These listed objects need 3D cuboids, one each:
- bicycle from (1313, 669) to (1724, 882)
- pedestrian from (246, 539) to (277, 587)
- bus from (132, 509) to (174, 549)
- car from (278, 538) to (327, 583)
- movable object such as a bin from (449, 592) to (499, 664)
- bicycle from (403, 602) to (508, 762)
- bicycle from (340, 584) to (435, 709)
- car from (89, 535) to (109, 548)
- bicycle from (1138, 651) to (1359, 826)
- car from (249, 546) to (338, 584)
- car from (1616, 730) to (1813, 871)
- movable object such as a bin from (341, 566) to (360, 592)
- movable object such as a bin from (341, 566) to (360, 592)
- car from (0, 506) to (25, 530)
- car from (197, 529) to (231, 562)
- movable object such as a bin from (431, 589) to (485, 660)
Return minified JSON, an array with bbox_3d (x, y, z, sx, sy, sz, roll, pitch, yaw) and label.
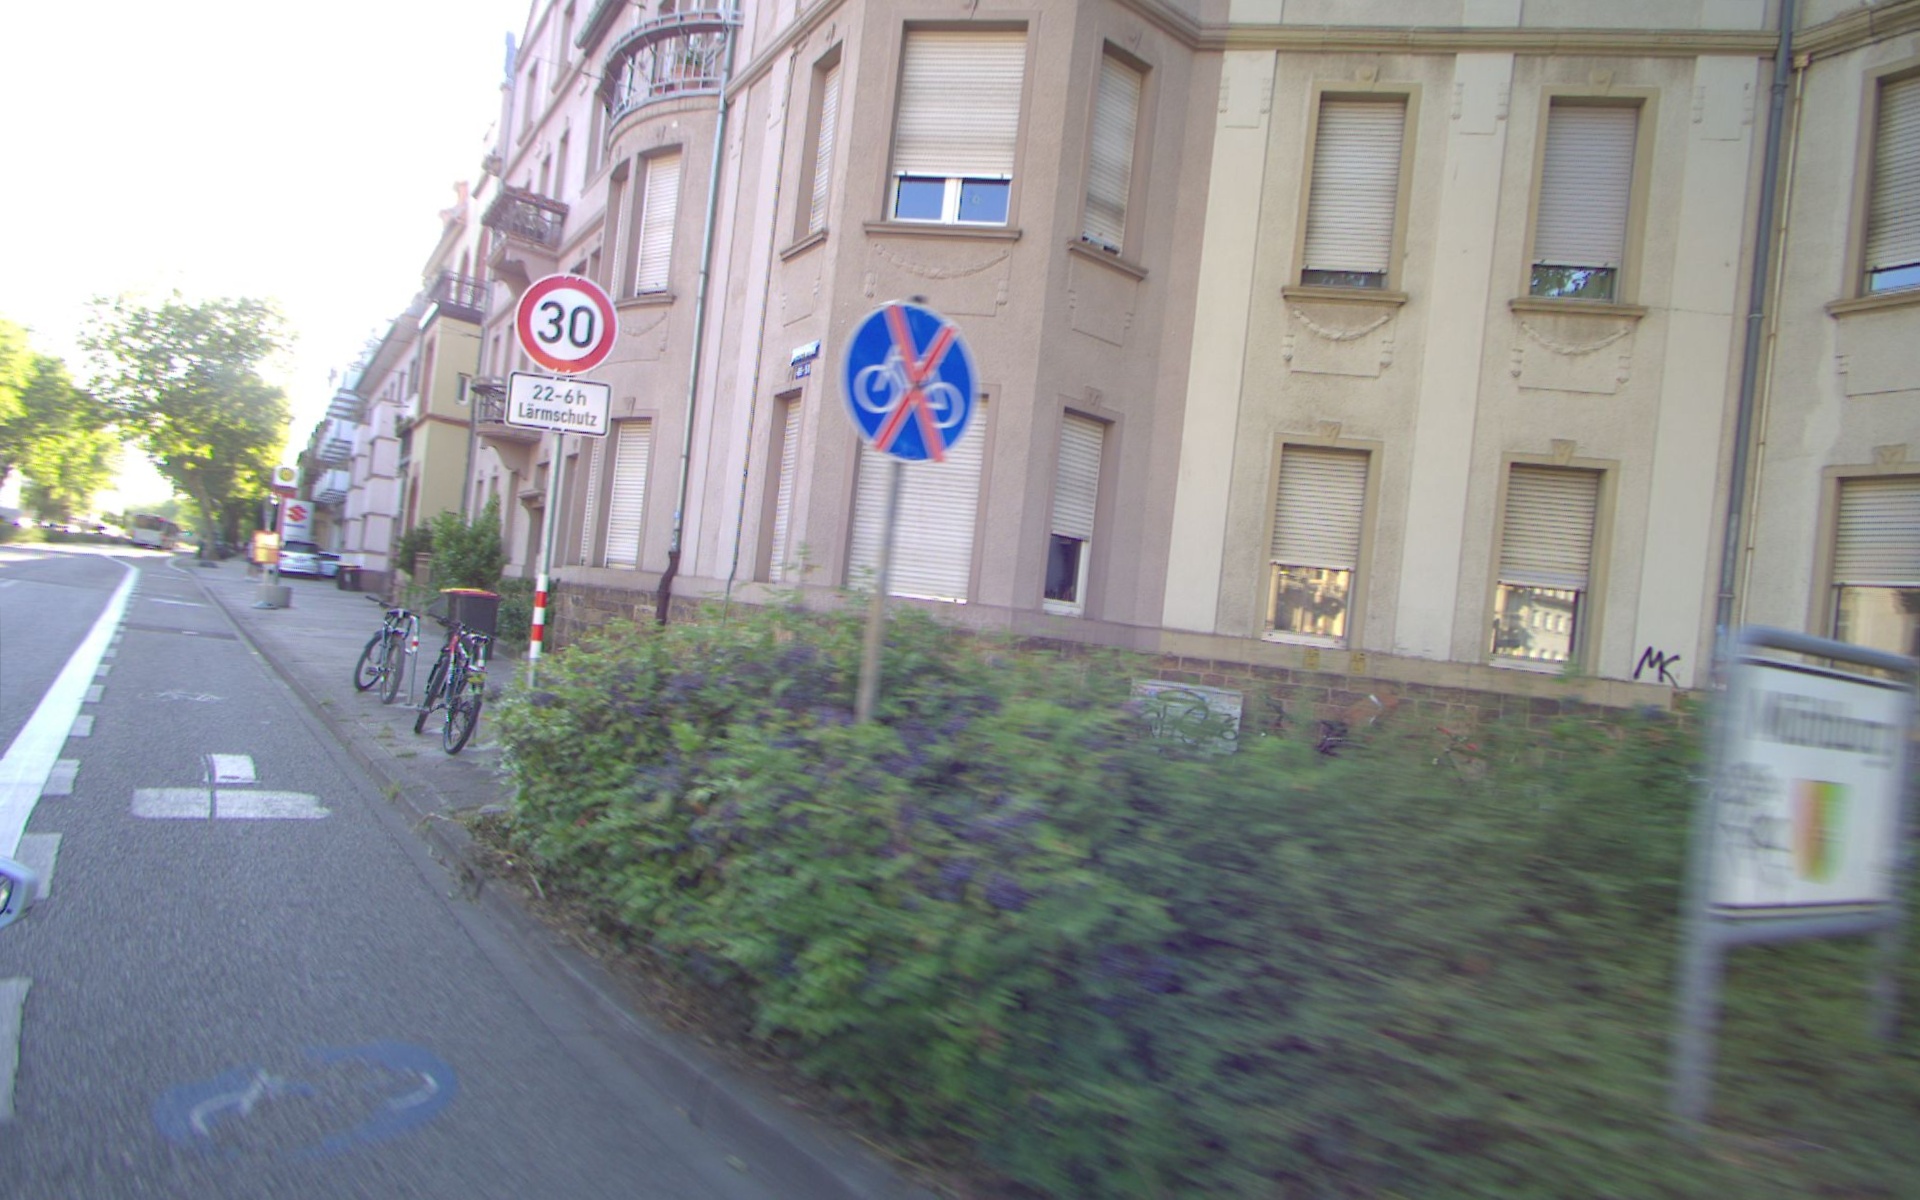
[{"bbox_3d":[5.054,1.558,9.361,3.098,1.489,0.954,6,-1,9],"label":"bicycle"},{"bbox_3d":[-28.407,-1.481,40.912,0.824,1.834,1.139,7,-2,-37],"label":"pedestrian"},{"bbox_3d":[-77.772,-6.757,97.066,2.820,3.273,8.100,7,-2,-38],"label":"bus"},{"bbox_3d":[-33.883,-2.006,51.900,1.880,1.971,4.860,7,-2,-33],"label":"car"},{"bbox_3d":[-7.598,0.430,15.748,0.563,1.058,0.656,6,-1,-23],"label":"movable object such as a bin"},{"bbox_3d":[-4.143,0.616,8.197,0.367,1.081,1.856,7,-1,-36],"label":"bicycle"},{"bbox_3d":[-6.012,0.447,10.519,0.435,1.111,1.911,7,-1,-40],"label":"bicycle"},{"bbox_3d":[-136.085,-9.212,158.993,1.858,1.713,4.734,7,-2,-35],"label":"car"},{"bbox_3d":[2.765,1.313,9.771,1.895,1.412,0.371,6,0,12],"label":"bicycle"},{"bbox_3d":[-36.749,-1.944,55.477,3.797,1.519,1.891,8,-1,-42],"label":"car"},{"bbox_3d":[6.805,1.786,9.146,1.044,0.961,0.926,6,3,12],"label":"car"},{"bbox_3d":[-24.995,-0.868,41.232,0.550,0.980,0.579,7,-2,-34],"label":"movable object such as a bin"},{"bbox_3d":[-24.648,-0.844,40.701,0.550,0.980,0.579,7,-2,-34],"label":"movable object such as a bin"},{"bbox_3d":[-123.257,-10.753,127.121,2.151,2.709,6.946,5,-2,33],"label":"car"},{"bbox_3d":[-59.904,-4.347,80.774,1.983,2.283,5.185,7,-2,-37],"label":"car"},{"bbox_3d":[-8.105,0.393,16.257,0.649,1.058,0.656,6,-1,-23],"label":"movable object such as a bin"}]
